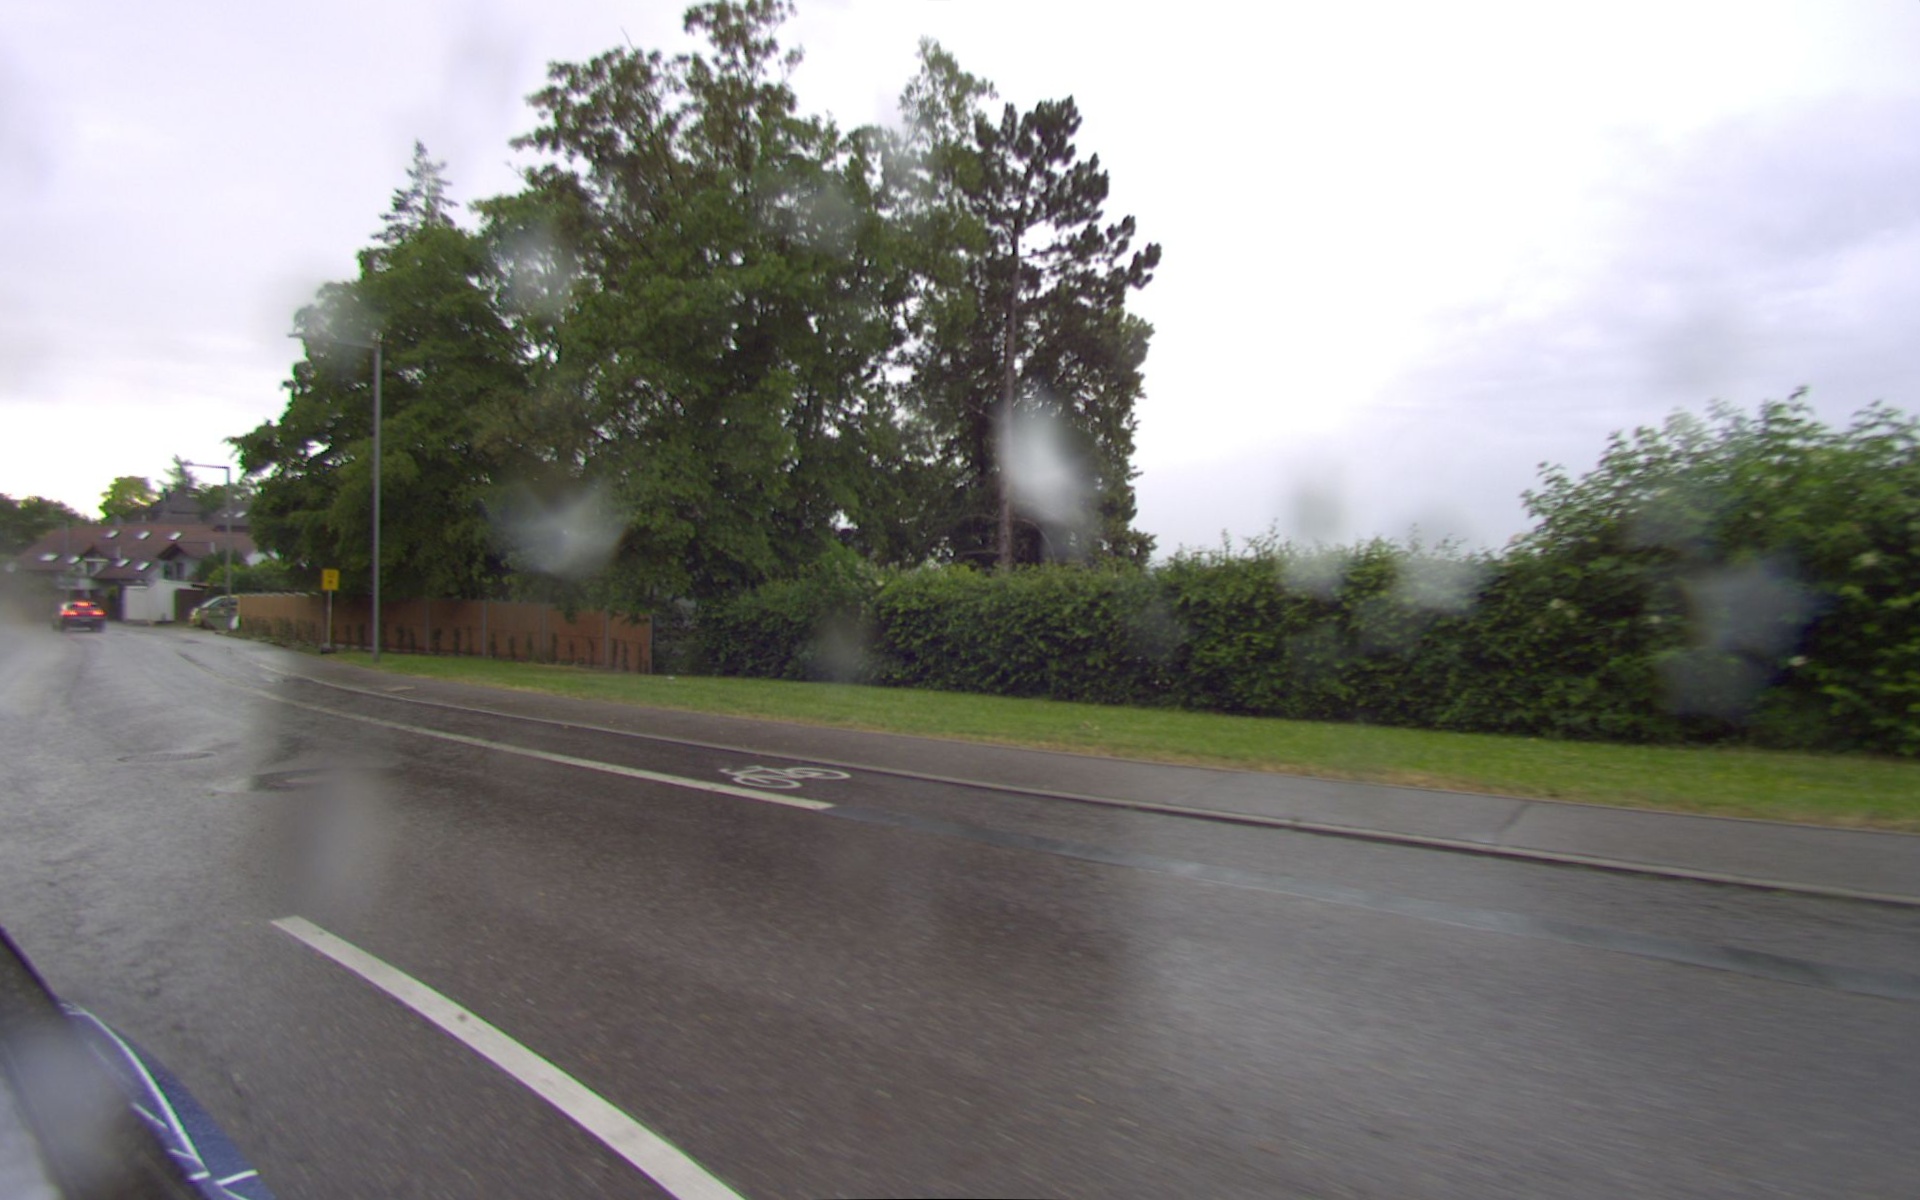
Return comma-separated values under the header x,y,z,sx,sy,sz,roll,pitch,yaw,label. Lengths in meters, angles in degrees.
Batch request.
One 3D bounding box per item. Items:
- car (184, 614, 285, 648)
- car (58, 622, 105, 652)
x,y,z,sx,sy,sz,roll,pitch,yaw,label
-41.478,1.762,57.893,4.450,1.874,2.091,1,-2,-44,car
-51.536,2.136,59.343,1.895,1.660,4.551,2,-2,-43,car
